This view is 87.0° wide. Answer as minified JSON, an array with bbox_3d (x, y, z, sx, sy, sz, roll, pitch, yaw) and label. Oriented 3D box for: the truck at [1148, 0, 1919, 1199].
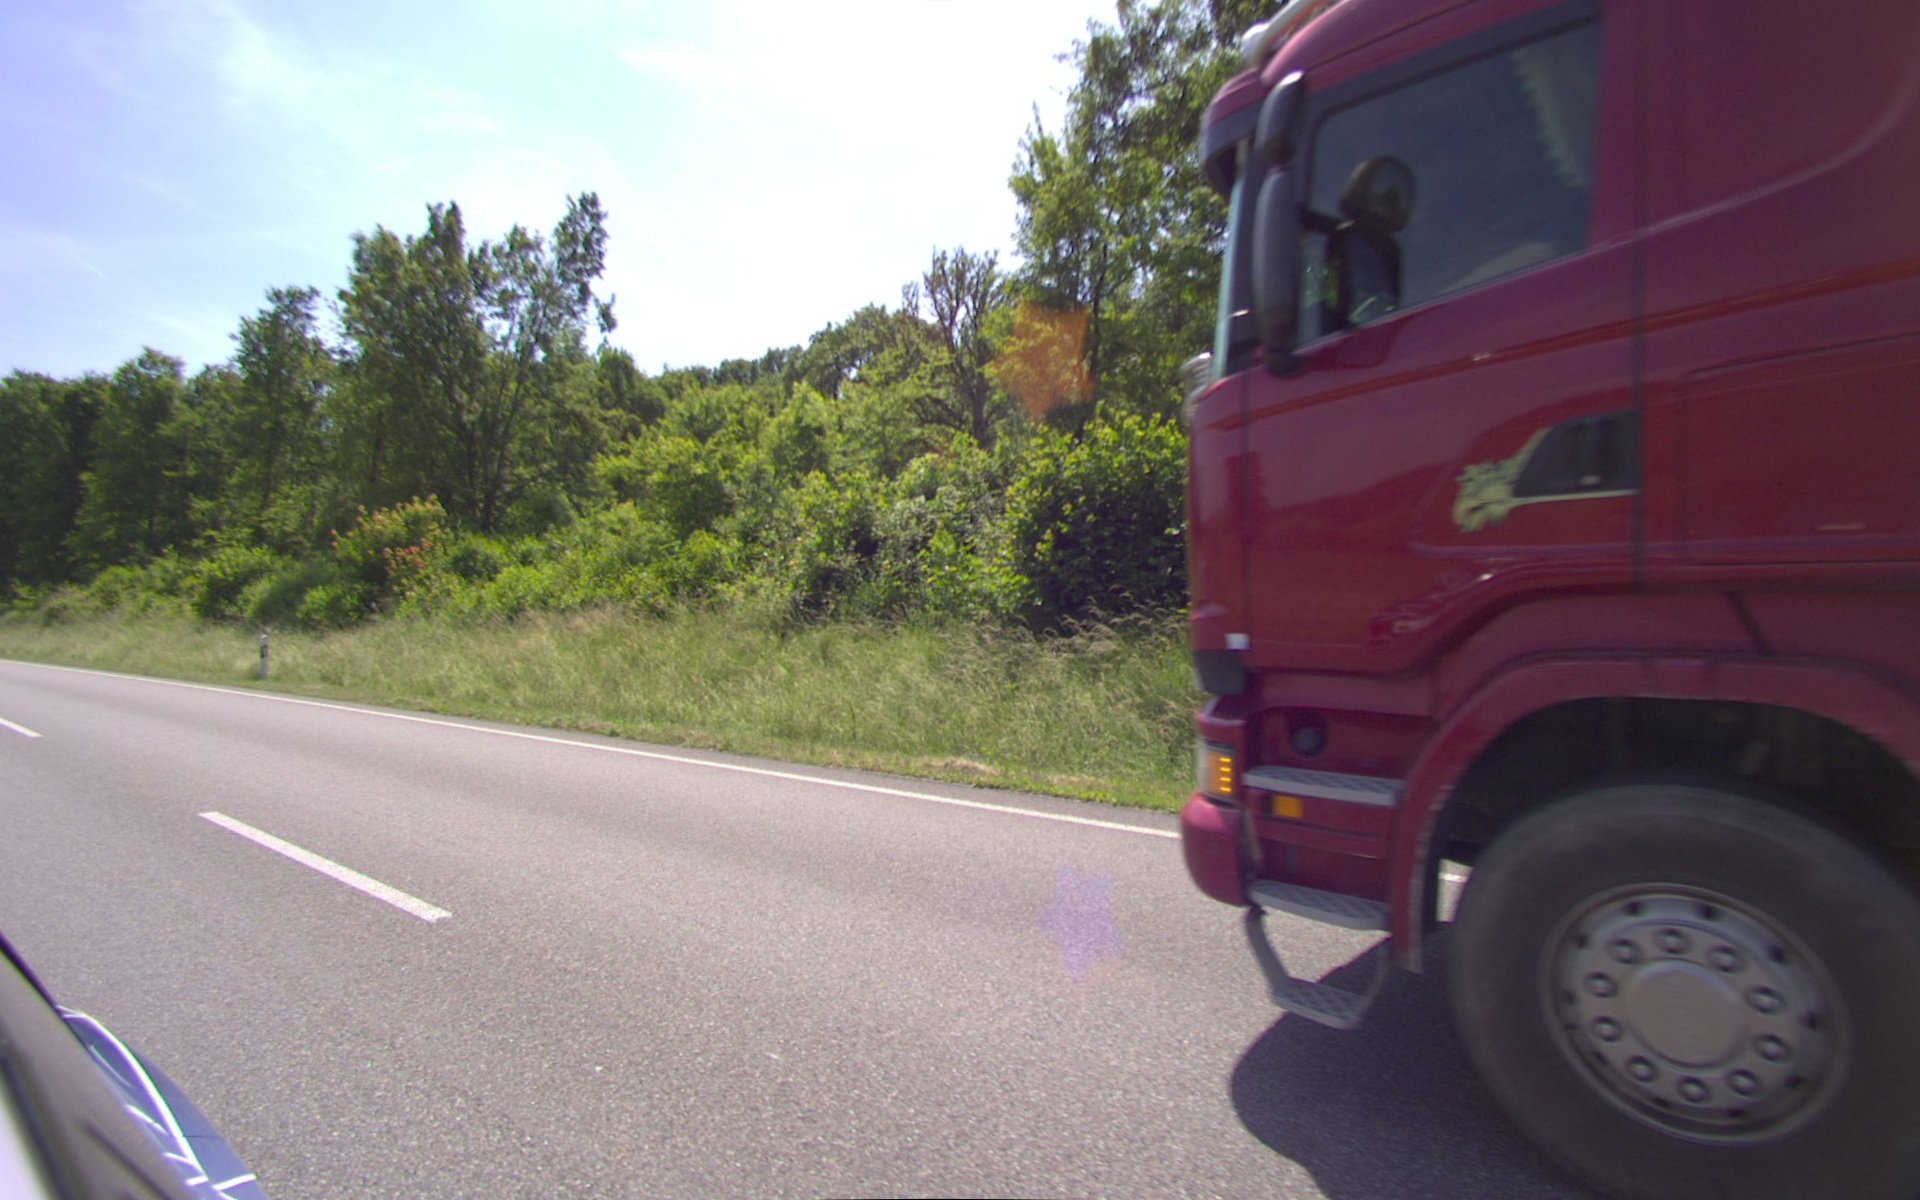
[{"bbox_3d":[4.333,-0.315,1.556,7.757,3.586,2.504,-1,-1,41],"label":"truck"}]
